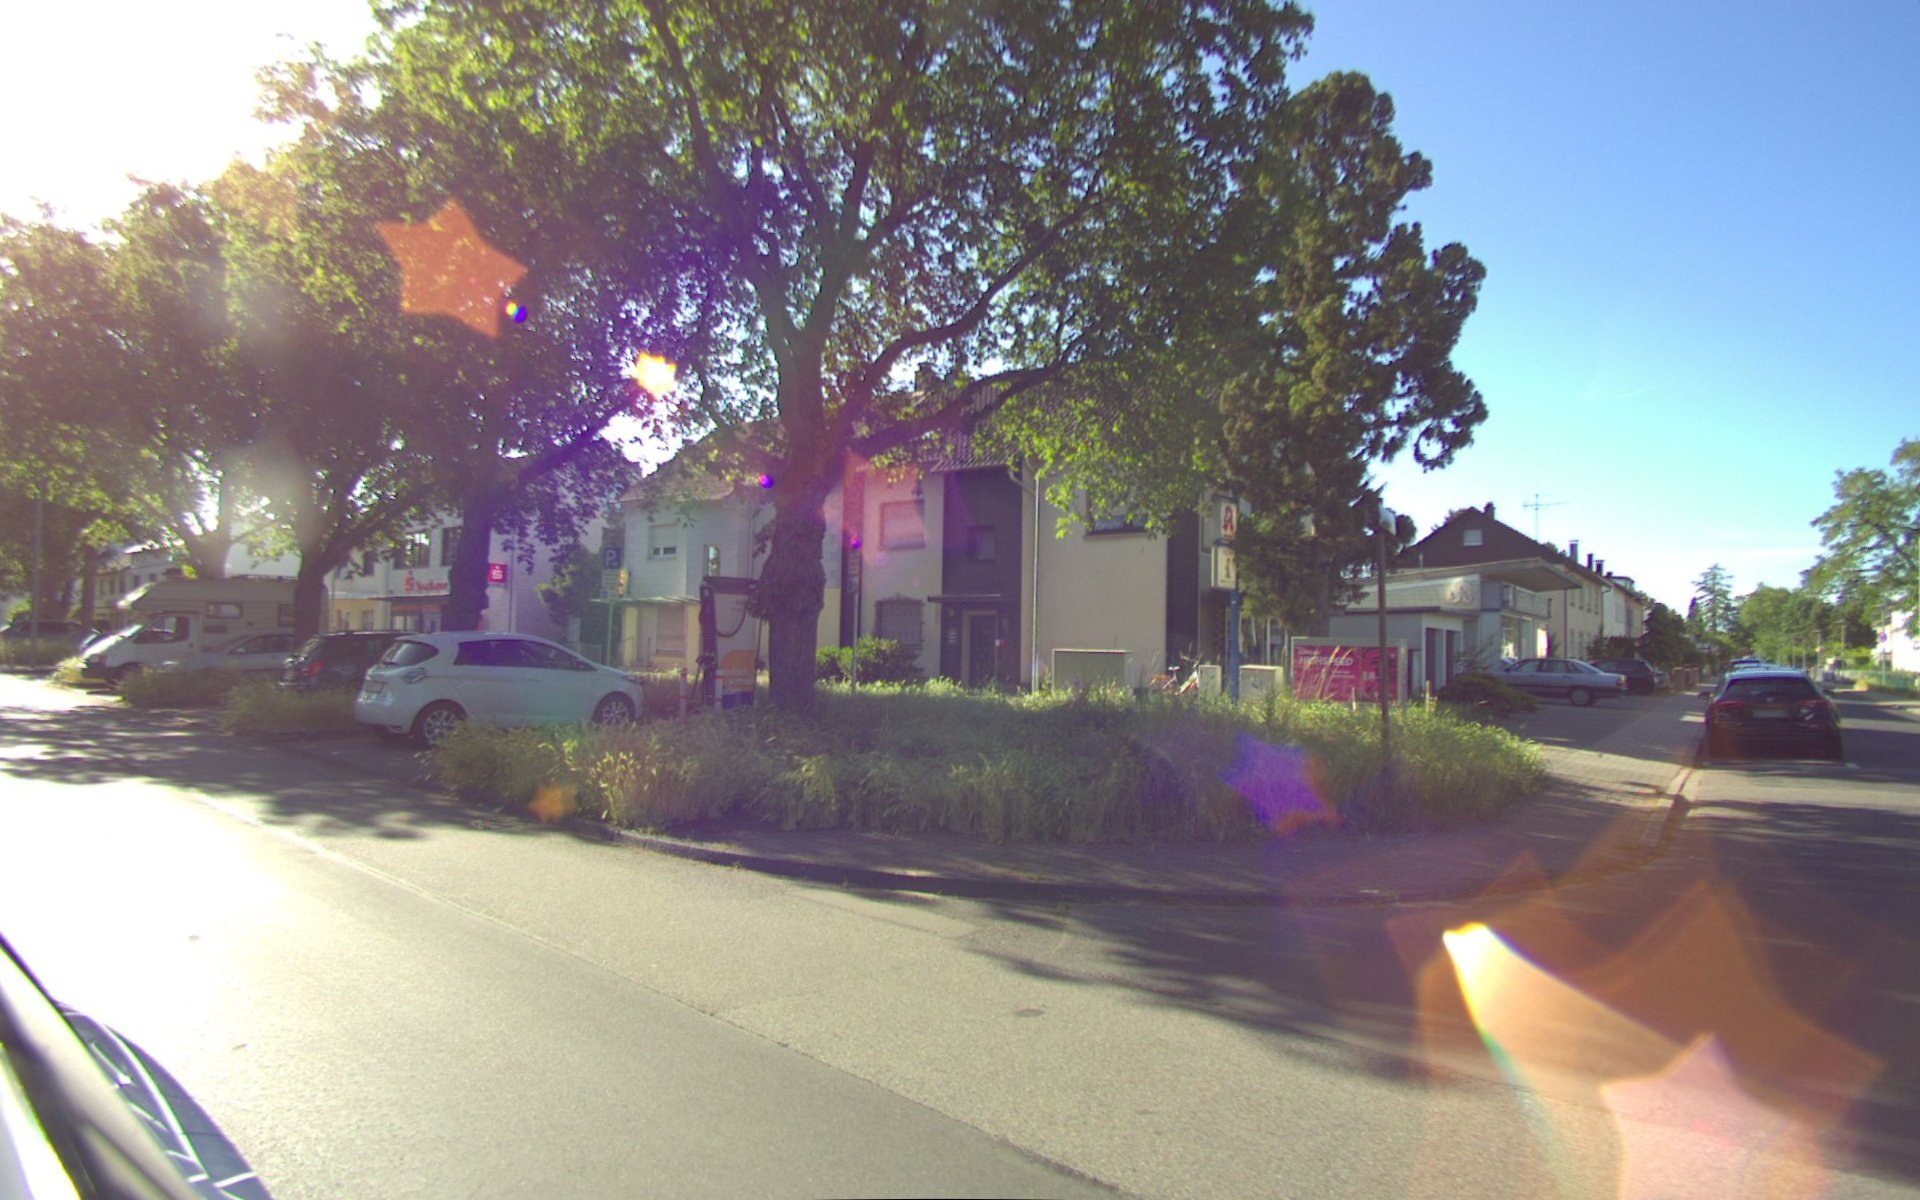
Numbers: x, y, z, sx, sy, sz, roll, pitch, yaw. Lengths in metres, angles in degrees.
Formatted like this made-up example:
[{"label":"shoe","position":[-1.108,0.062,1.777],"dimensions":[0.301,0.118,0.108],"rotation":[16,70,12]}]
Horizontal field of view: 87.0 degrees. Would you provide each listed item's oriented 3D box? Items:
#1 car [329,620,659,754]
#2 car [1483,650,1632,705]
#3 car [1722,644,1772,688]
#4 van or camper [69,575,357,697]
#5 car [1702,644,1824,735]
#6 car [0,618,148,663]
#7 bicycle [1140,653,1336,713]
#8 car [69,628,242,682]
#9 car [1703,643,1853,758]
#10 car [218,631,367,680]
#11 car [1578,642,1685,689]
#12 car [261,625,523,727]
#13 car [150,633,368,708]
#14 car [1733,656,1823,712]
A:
[{"label":"car","position":[-6.708,1.176,14.886],"dimensions":[1.965,1.673,3.946],"rotation":[-2,-3,40]},{"label":"car","position":[18.372,2.345,31.188],"dimensions":[3.754,1.530,1.781],"rotation":[-1,-3,39]},{"label":"car","position":[41.274,3.422,53.090],"dimensions":[1.997,1.962,3.949],"rotation":[-1,0,38]},{"label":"van or camper","position":[-19.093,0.801,26.147],"dimensions":[2.000,2.826,5.713],"rotation":[-1,0,43]},{"label":"car","position":[18.275,1.939,22.969],"dimensions":[1.999,1.834,3.945],"rotation":[-1,-3,41]},{"label":"car","position":[-39.586,1.736,45.044],"dimensions":[1.997,1.741,5.014],"rotation":[-1,0,37]},{"label":"bicycle","position":[5.952,1.764,21.889],"dimensions":[4.033,1.185,0.700],"rotation":[-1,-3,25]},{"label":"car","position":[-24.244,1.607,30.590],"dimensions":[1.640,1.460,3.942],"rotation":[-1,-1,44]},{"label":"car","position":[14.181,1.622,17.516],"dimensions":[1.821,1.728,3.945],"rotation":[-1,-3,41]},{"label":"car","position":[-23.306,1.899,35.451],"dimensions":[1.866,1.554,3.951],"rotation":[-1,-2,36]},{"label":"car","position":[30.868,2.977,46.568],"dimensions":[3.994,2.029,1.975],"rotation":[-1,-3,37]},{"label":"car","position":[-10.768,1.350,19.391],"dimensions":[1.998,1.601,3.947],"rotation":[-1,0,40]},{"label":"car","position":[-16.798,1.623,24.388],"dimensions":[1.998,1.469,3.947],"rotation":[-1,0,39]},{"label":"car","position":[25.089,2.531,30.994],"dimensions":[1.999,1.551,3.945],"rotation":[-1,-4,41]}]
